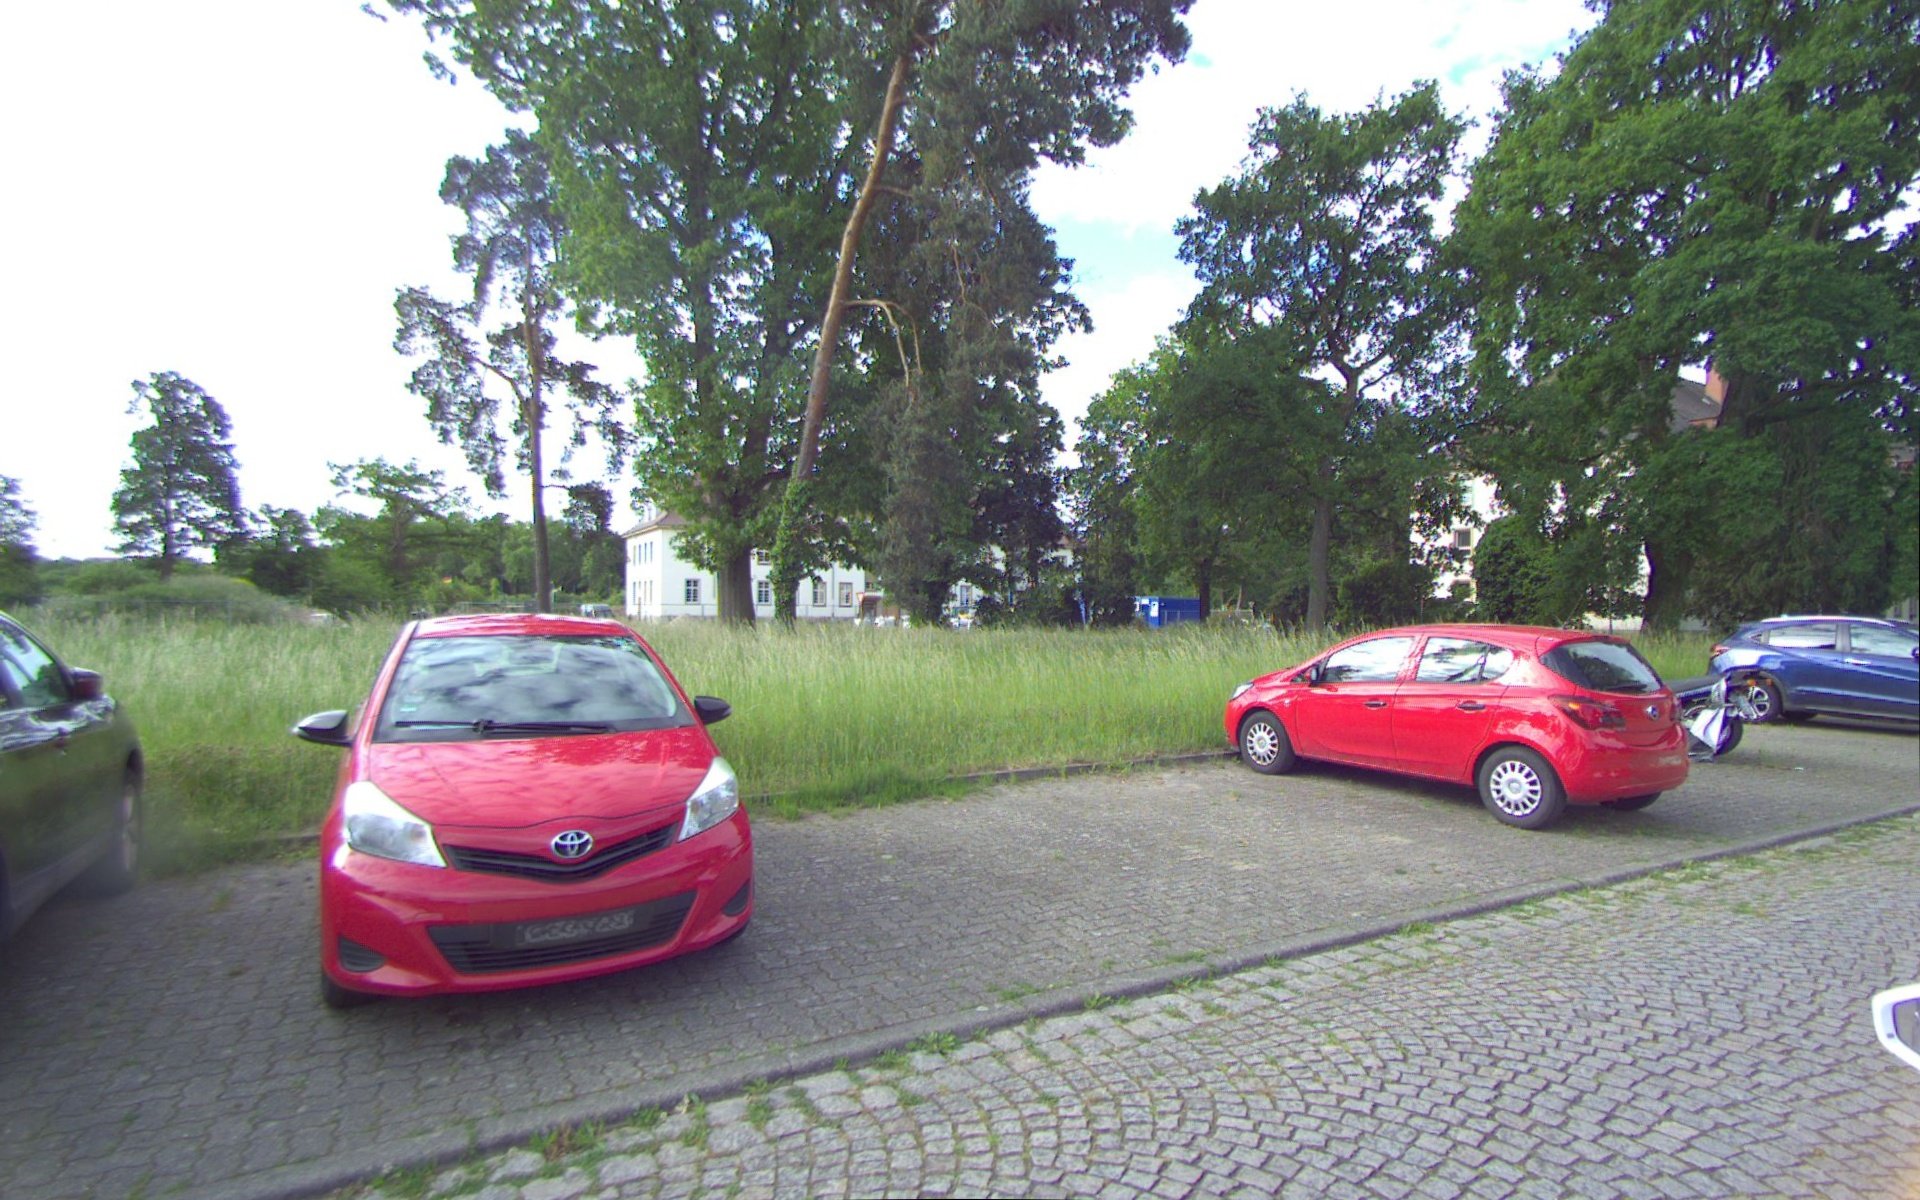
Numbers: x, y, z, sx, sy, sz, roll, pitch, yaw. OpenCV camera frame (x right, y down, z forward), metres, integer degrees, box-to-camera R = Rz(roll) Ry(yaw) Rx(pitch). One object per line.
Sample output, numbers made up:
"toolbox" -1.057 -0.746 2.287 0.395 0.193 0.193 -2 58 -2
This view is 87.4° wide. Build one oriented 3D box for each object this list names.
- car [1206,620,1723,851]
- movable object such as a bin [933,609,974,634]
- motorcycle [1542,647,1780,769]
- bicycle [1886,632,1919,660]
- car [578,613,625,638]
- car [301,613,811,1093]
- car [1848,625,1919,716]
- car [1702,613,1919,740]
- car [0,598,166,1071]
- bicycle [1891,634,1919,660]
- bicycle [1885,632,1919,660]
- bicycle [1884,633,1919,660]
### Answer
"car" 4.197 0.969 8.967 1.766 1.509 3.798 0 0 -30
"movable object such as a bin" -0.632 2.109 96.918 2.347 2.283 4.495 2 -2 -24
"motorcycle" 7.938 1.168 11.520 0.638 1.175 2.218 0 -1 -26
"bicycle" 37.037 1.797 38.892 1.682 1.067 0.572 0 -2 41
"car" -32.649 2.303 91.425 2.350 2.143 5.761 3 -2 -38
"car" -2.286 0.840 5.326 1.740 1.506 3.799 0 0 -29
"car" 17.125 1.184 16.099 1.604 1.487 4.058 0 0 -26
"car" 13.022 1.020 13.934 1.767 1.625 4.051 0 0 -31
"car" -4.564 0.788 3.755 1.931 1.596 4.048 0 0 -30
"bicycle" 39.460 1.937 41.312 1.682 1.067 0.572 0 -2 41
"bicycle" 37.408 1.821 39.337 1.682 1.067 0.572 0 -2 41
"bicycle" 38.071 1.863 40.126 1.682 1.067 0.572 0 -2 41
